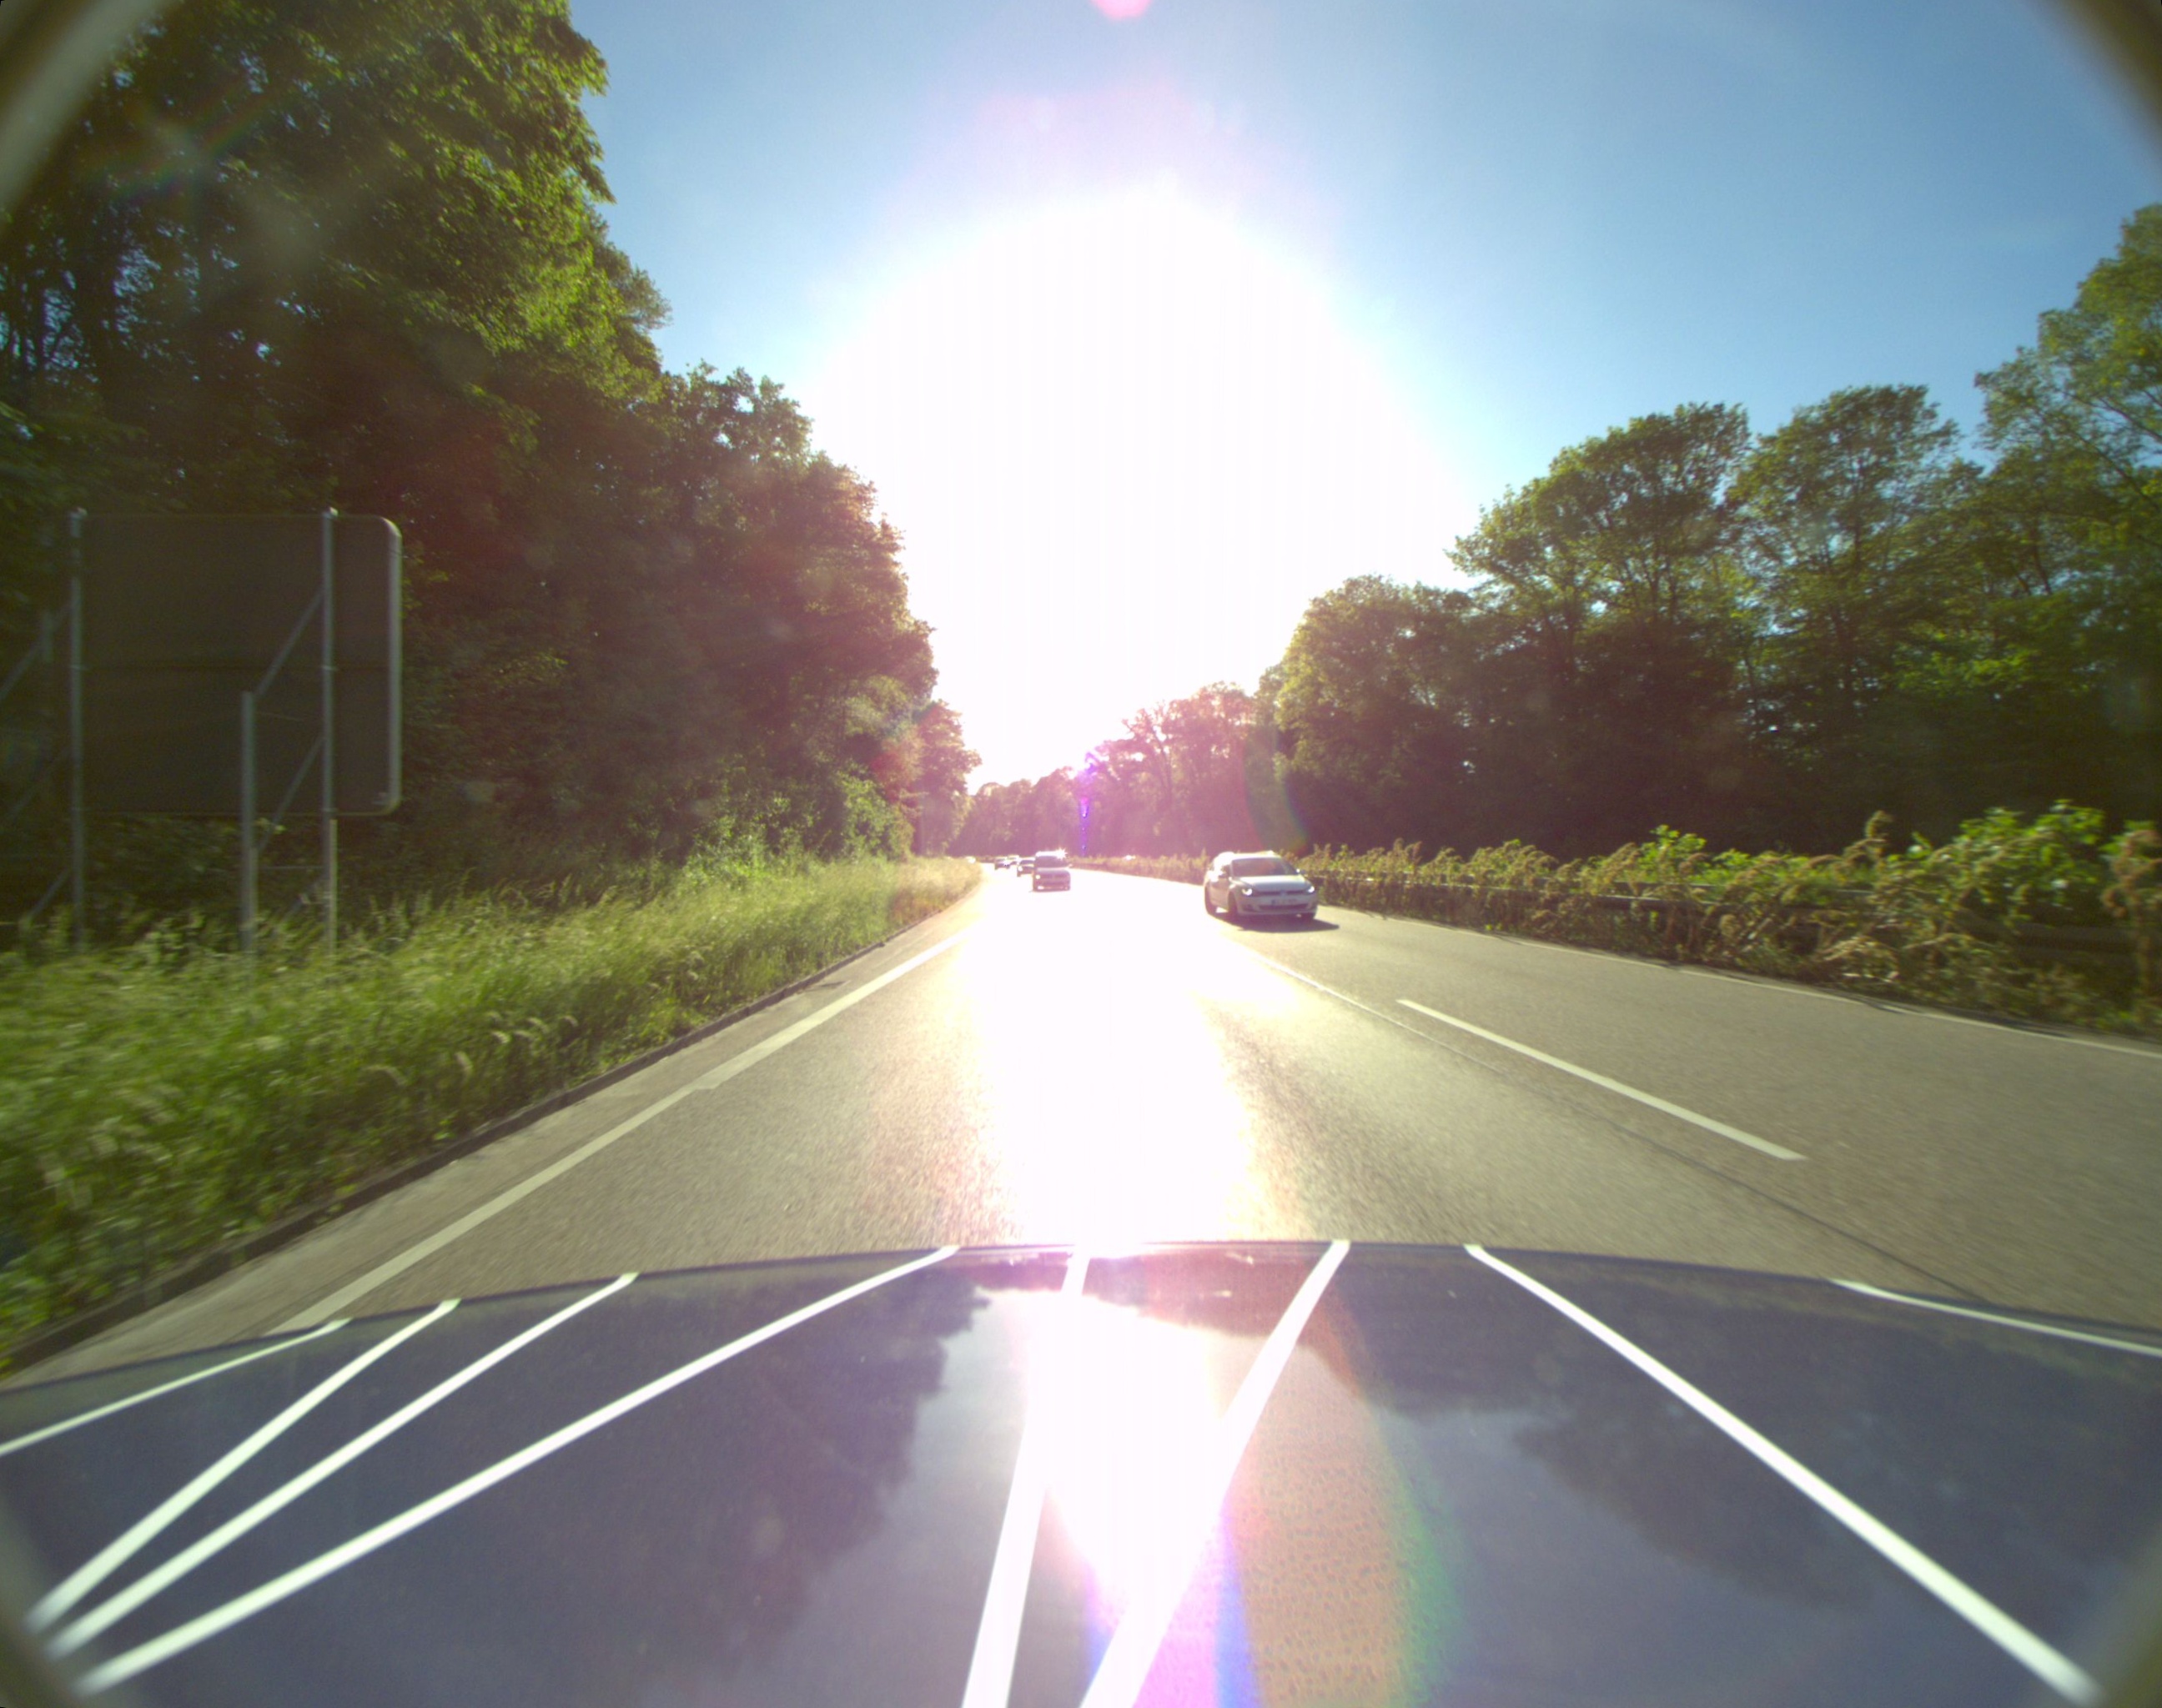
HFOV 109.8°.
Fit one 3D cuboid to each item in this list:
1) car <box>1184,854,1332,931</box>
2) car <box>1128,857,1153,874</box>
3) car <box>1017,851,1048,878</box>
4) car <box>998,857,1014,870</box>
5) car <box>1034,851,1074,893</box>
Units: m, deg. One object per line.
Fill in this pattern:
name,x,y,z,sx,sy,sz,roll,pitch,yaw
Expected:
car,3.965,0.794,18.187,1.935,1.499,5.597,-2,0,-3
car,7.785,1.447,99.622,2.054,2.002,4.757,-2,1,-9
car,-4.070,0.802,62.735,2.258,1.843,5.136,-2,3,-7
car,-9.466,1.172,96.195,1.935,1.499,5.083,-1,0,-6
car,-1.367,0.817,37.189,1.800,1.796,4.830,-2,1,-3
